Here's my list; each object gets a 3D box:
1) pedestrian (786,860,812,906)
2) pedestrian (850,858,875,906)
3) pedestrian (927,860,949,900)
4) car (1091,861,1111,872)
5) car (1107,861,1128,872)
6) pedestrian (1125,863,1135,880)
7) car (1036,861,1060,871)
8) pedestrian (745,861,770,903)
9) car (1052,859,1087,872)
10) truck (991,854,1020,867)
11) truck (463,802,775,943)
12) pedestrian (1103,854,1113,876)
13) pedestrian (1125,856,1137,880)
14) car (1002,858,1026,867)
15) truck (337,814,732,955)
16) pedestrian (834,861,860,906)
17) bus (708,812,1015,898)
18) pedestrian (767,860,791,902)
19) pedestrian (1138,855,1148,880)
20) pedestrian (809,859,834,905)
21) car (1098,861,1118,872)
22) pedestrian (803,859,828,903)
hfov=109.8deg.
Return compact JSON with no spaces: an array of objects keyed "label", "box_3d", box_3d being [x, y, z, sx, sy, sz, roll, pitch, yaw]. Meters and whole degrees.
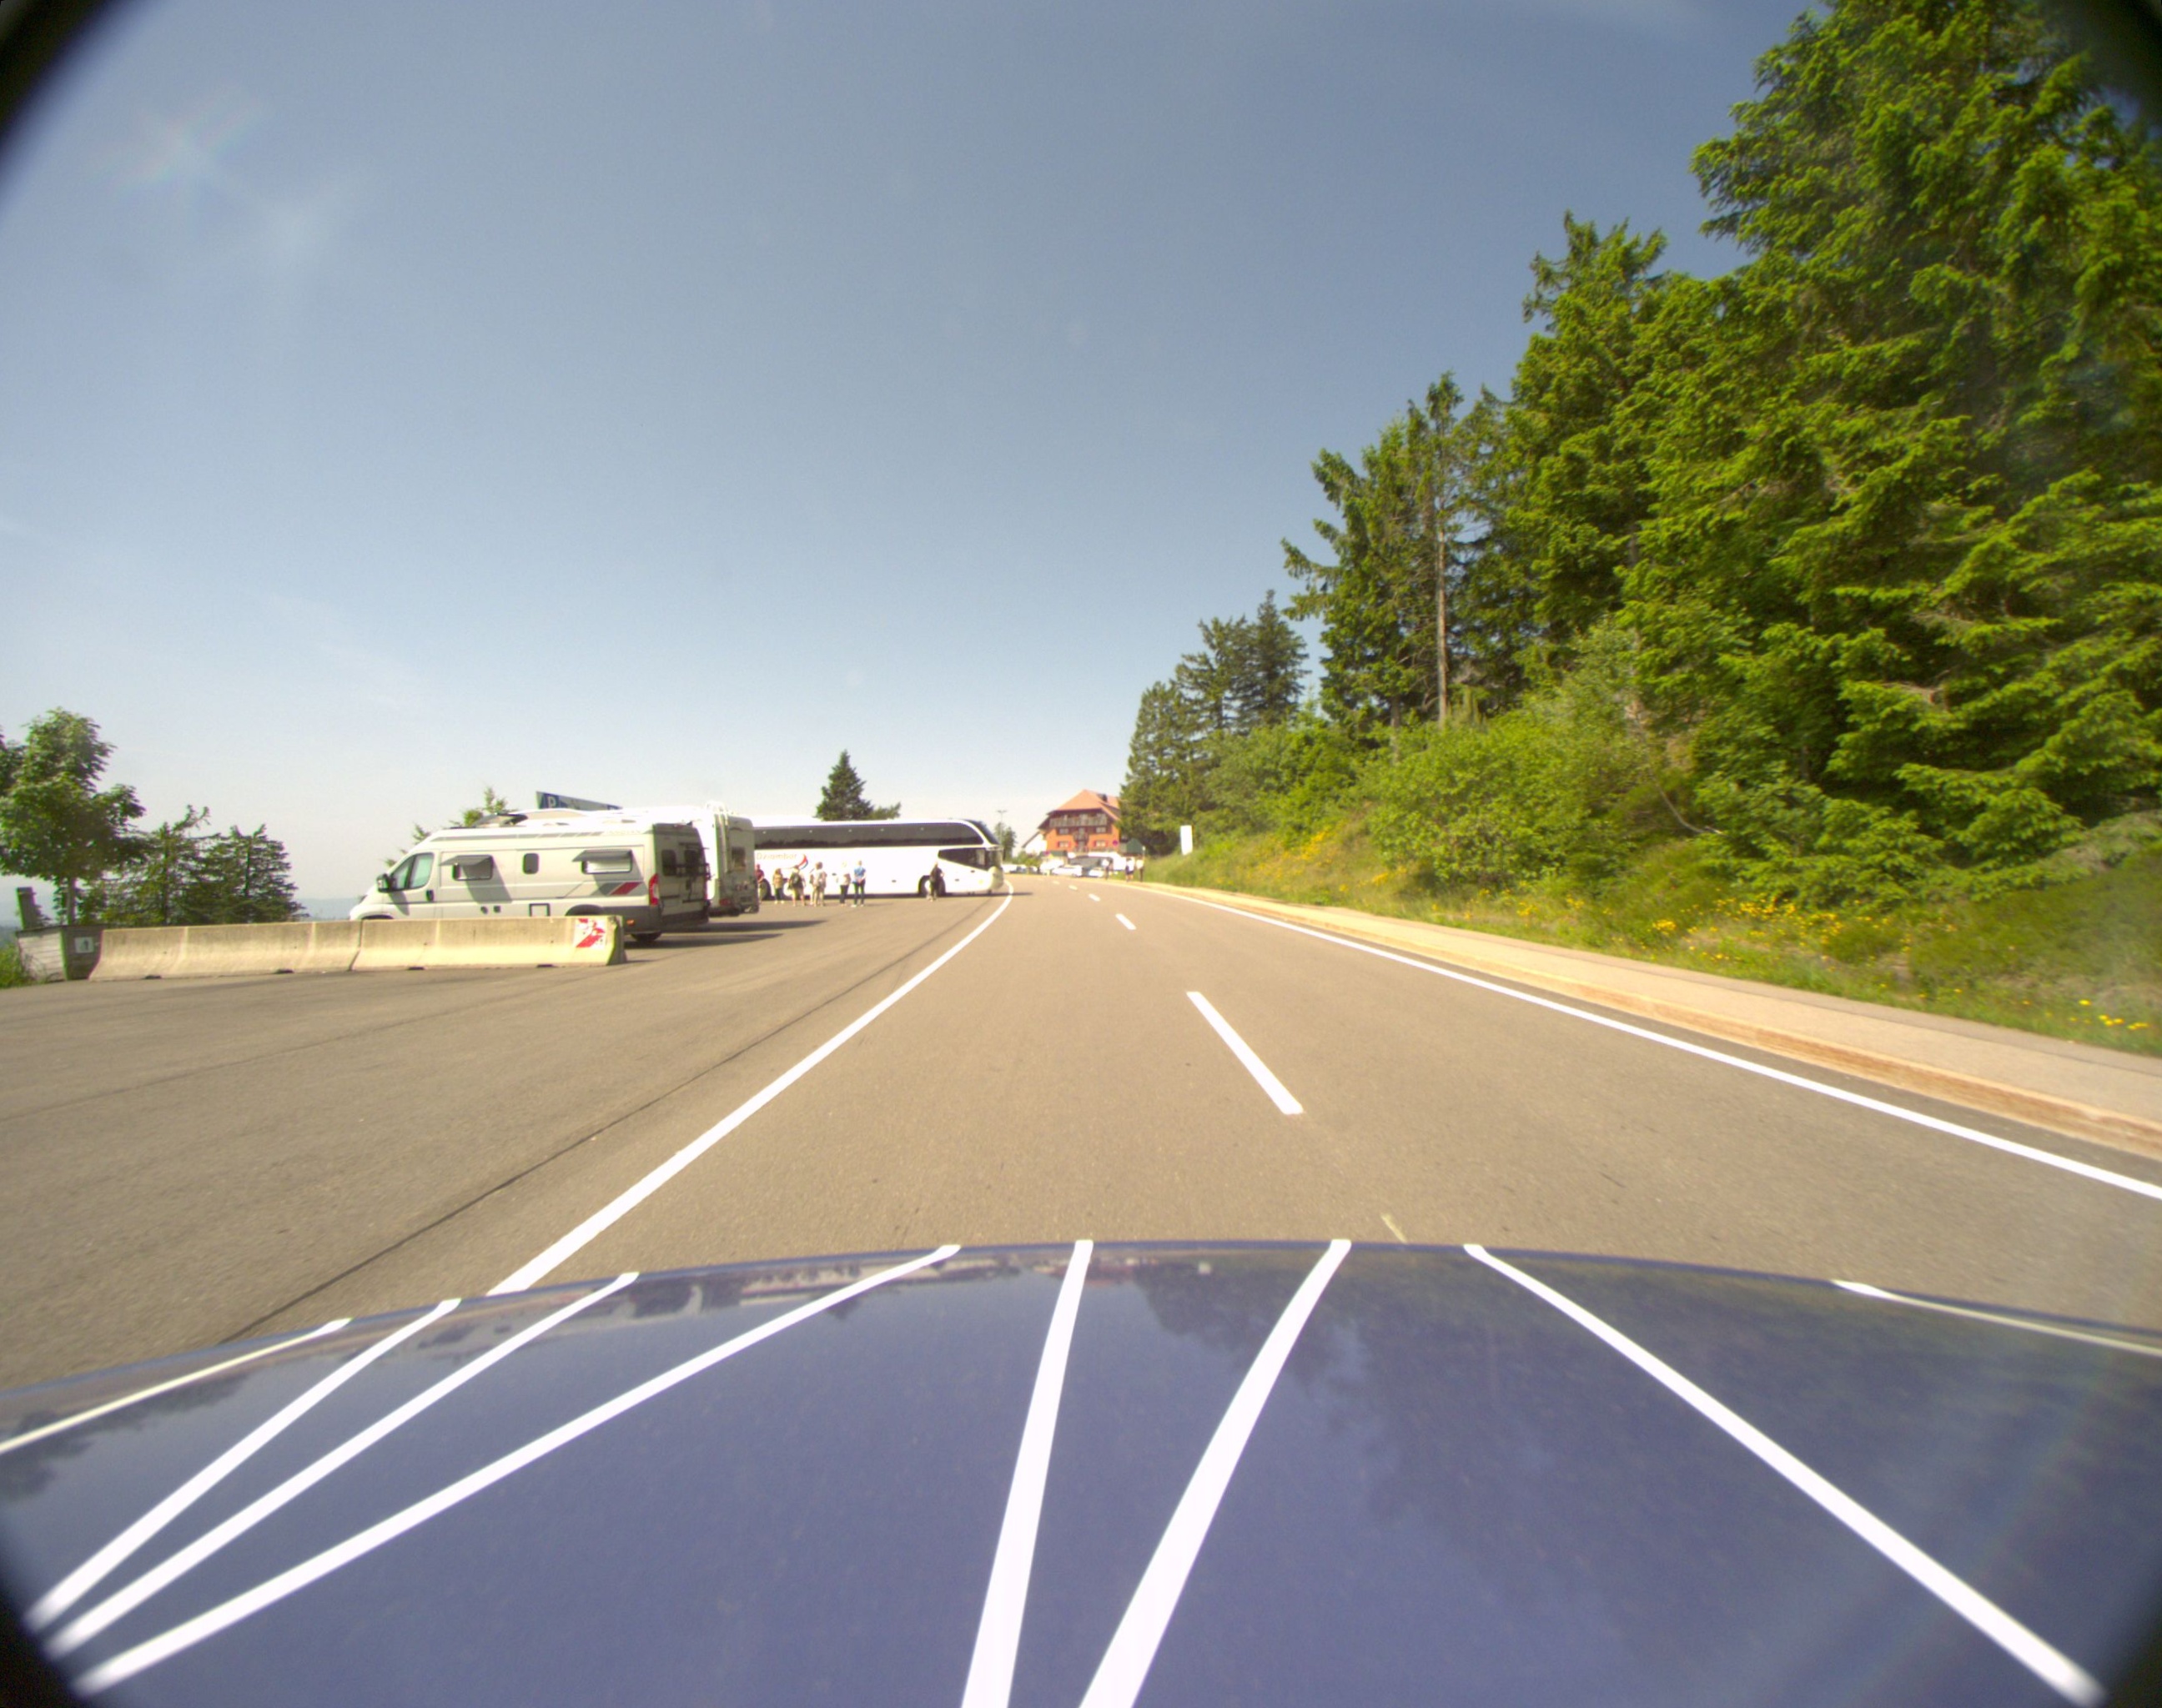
[{"label":"pedestrian","box_3d":[-10.641,1.083,28.675,0.631,1.687,0.628,-1,0,13]},{"label":"pedestrian","box_3d":[-7.999,1.014,27.795,0.631,1.747,0.628,-1,0,13]},{"label":"pedestrian","box_3d":[-5.736,1.032,30.528,0.631,1.557,0.628,-1,0,13]},{"label":"car","box_3d":[2.942,1.830,113.178,1.710,1.543,3.141,0,0,29]},{"label":"car","box_3d":[4.984,1.720,104.296,1.714,1.425,3.322,0,-1,27]},{"label":"pedestrian","box_3d":[3.136,1.094,48.549,0.570,1.095,0.744,0,0,-4]},{"label":"car","box_3d":[-5.080,1.874,117.890,3.325,1.583,1.720,0,-1,33]},{"label":"pedestrian","box_3d":[-13.063,1.113,30.699,0.631,1.687,0.628,-1,0,13]},{"label":"car","box_3d":[-1.446,1.425,94.642,3.953,1.578,1.793,0,-1,26]},{"label":"truck","box_3d":[-17.139,1.488,173.380,2.863,2.813,8.775,-1,0,22]},{"label":"truck","box_3d":[-11.132,0.410,18.795,6.080,3.177,2.532,-1,1,-2]},{"label":"pedestrian","box_3d":[2.093,0.845,58.368,0.581,1.731,0.686,0,0,-13]},{"label":"pedestrian","box_3d":[3.283,0.922,49.957,0.582,1.528,0.879,0,0,-7]},{"label":"car","box_3d":[-14.630,1.936,165.669,5.254,1.894,1.999,0,0,-6]},{"label":"truck","box_3d":[-10.777,0.584,15.398,6.276,2.575,2.340,-1,0,0]},{"label":"pedestrian","box_3d":[-8.689,1.082,28.213,0.630,1.641,0.629,-1,0,24]},{"label":"bus","box_3d":[-9.556,0.066,34.060,12.878,3.556,2.839,-1,0,1]},{"label":"pedestrian","box_3d":[-12.281,1.106,30.870,0.631,1.687,0.628,-1,0,13]},{"label":"pedestrian","box_3d":[4.098,0.913,50.230,0.578,1.633,0.894,0,0,-4]},{"label":"pedestrian","box_3d":[-9.738,1.052,28.502,0.631,1.688,0.628,-1,0,13]},{"label":"car","box_3d":[3.907,1.785,108.683,1.637,1.425,3.322,0,-2,27]},{"label":"pedestrian","box_3d":[-10.358,1.043,29.649,0.631,1.669,0.628,-1,0,13]}]
